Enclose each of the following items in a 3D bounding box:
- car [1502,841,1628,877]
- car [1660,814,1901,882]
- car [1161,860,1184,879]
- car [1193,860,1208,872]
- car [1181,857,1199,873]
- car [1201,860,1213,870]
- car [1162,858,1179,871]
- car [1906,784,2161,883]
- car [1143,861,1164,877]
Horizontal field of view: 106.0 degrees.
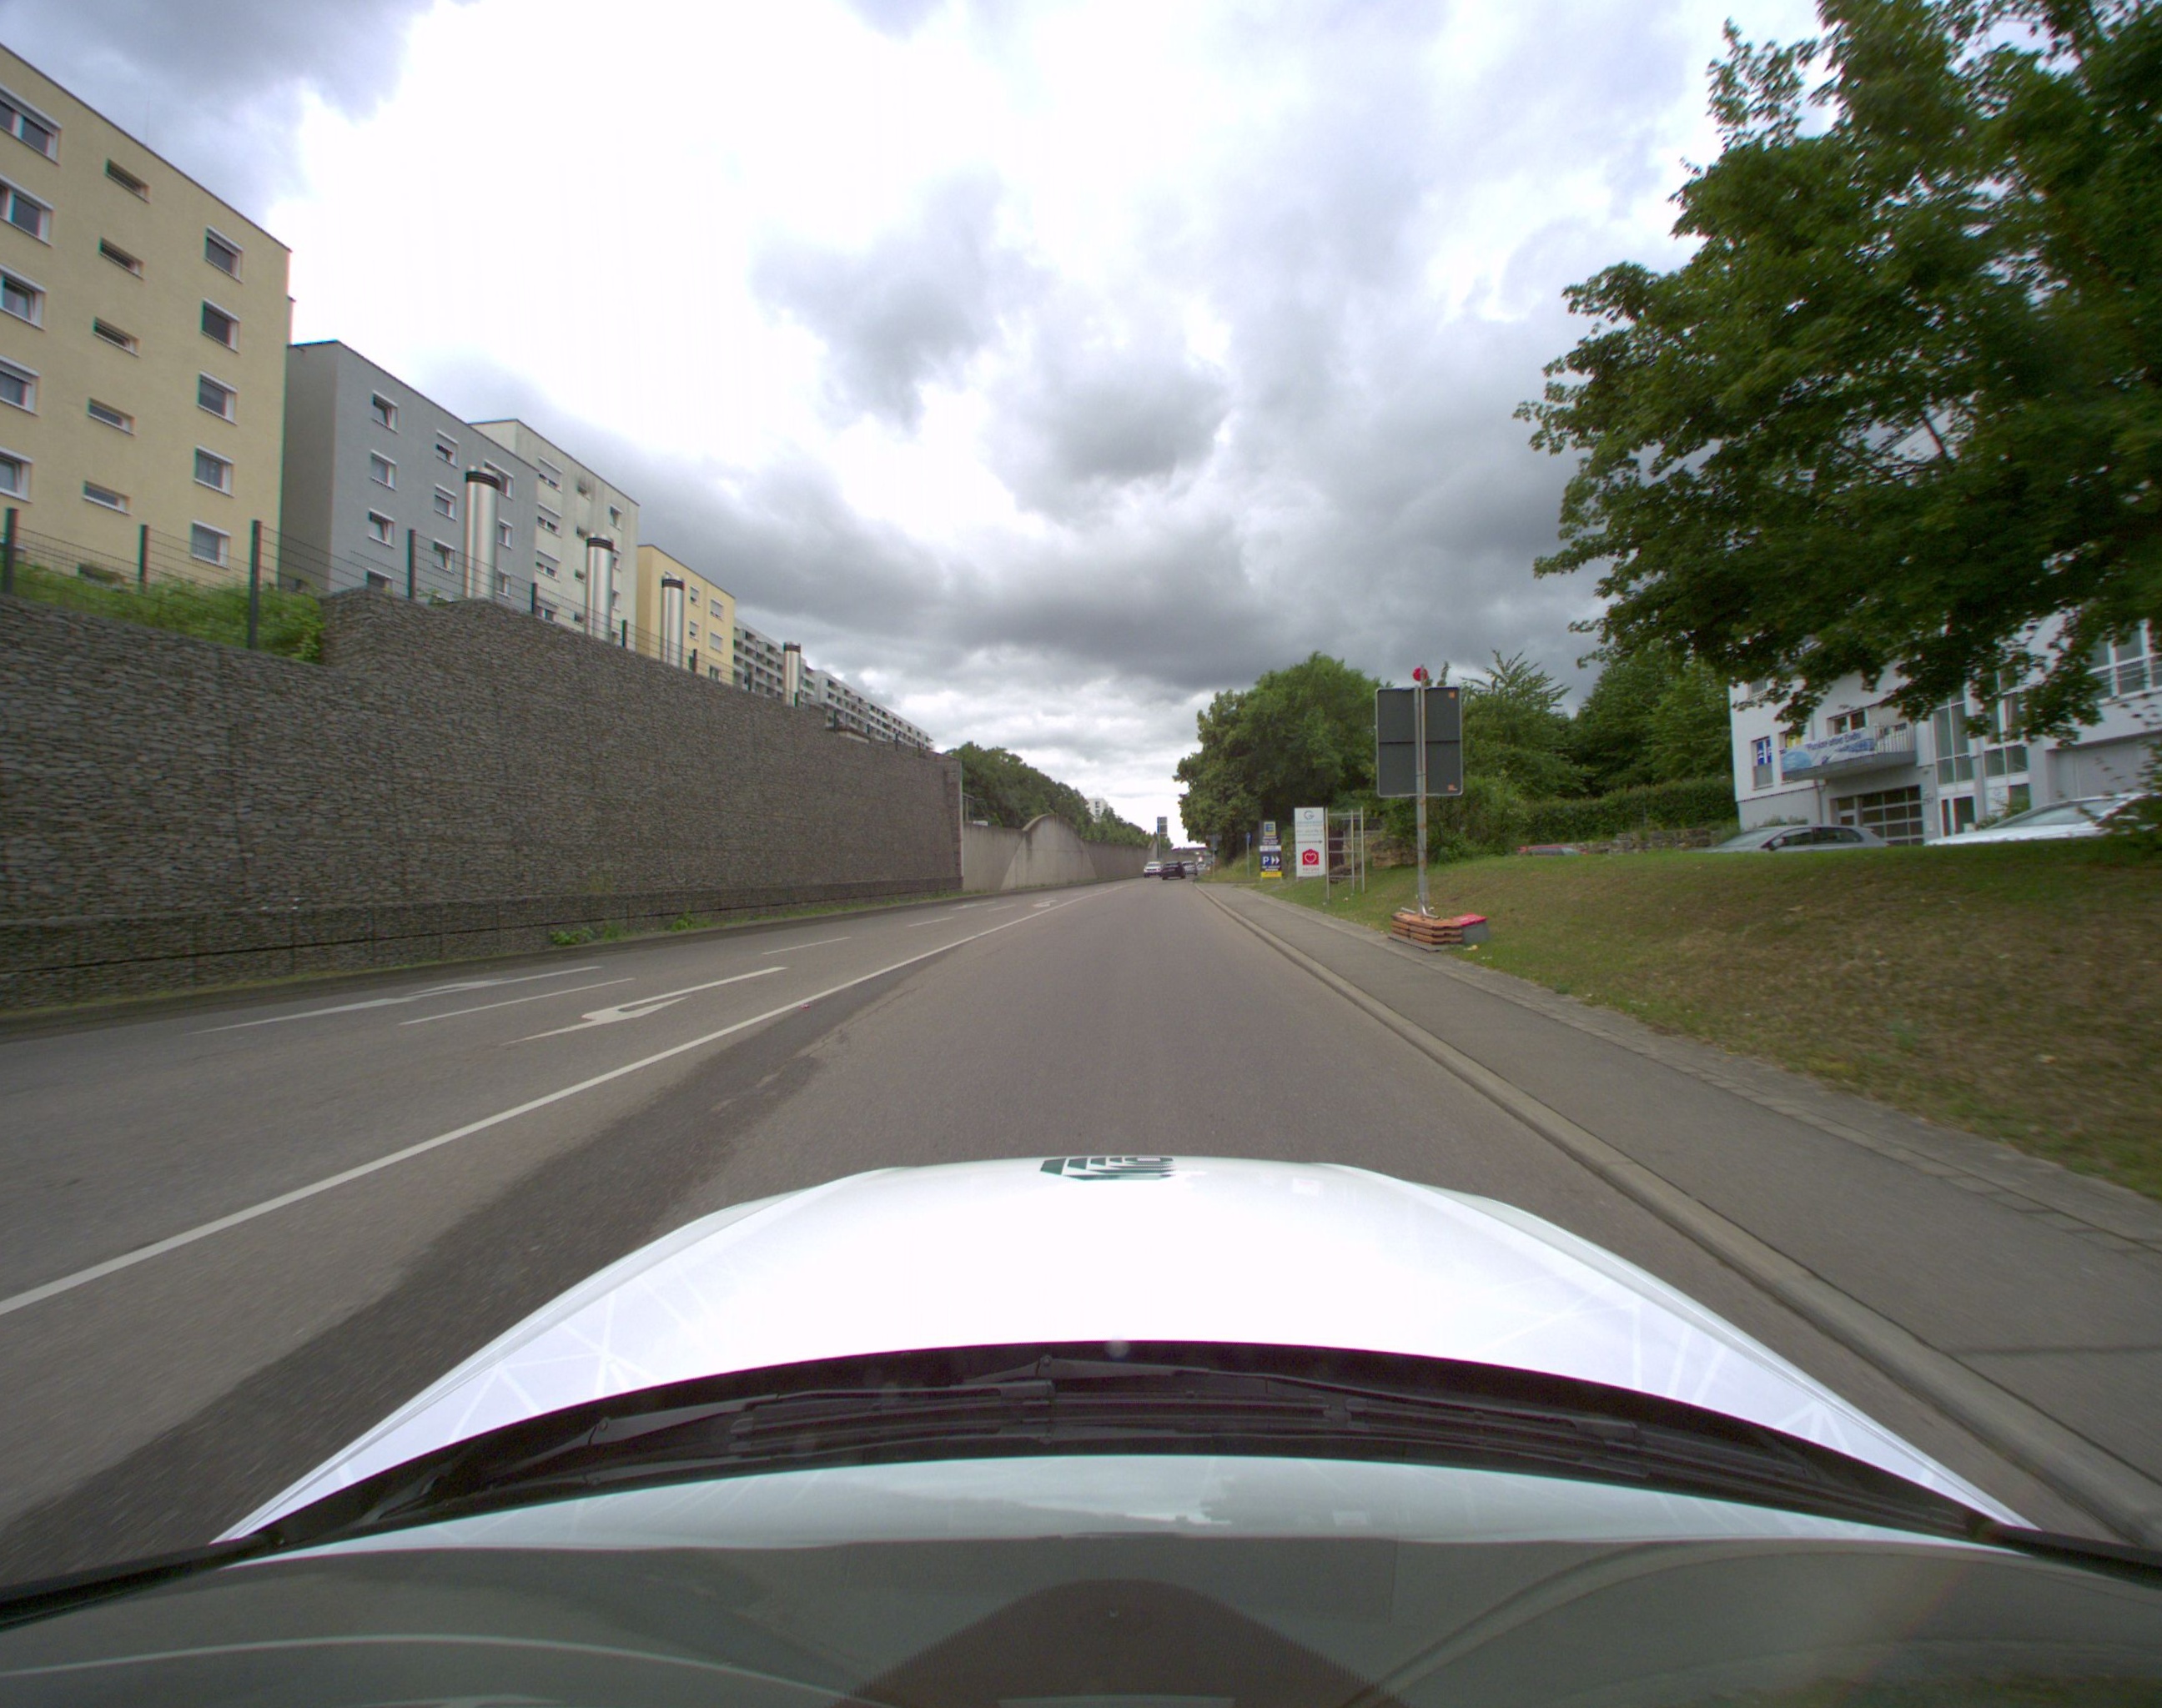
[{"bbox_3d":[20.222,0.220,34.191,4.211,1.450,1.766,-1,-1,13],"label":"car"},{"bbox_3d":[16.100,-0.093,18.942,3.852,1.353,1.838,-2,-3,7],"label":"car"},{"bbox_3d":[7.686,1.348,68.365,1.744,1.523,4.046,1,-2,9],"label":"car"},{"bbox_3d":[16.141,1.631,109.861,1.855,1.490,4.268,0,-1,10],"label":"car"},{"bbox_3d":[11.275,1.166,84.188,1.744,1.523,4.045,1,-2,8],"label":"car"},{"bbox_3d":[20.387,1.793,131.888,1.743,1.534,4.265,1,-2,10],"label":"car"},{"bbox_3d":[11.795,1.359,106.917,1.878,1.632,4.439,-2,-1,10],"label":"car"},{"bbox_3d":[14.635,-0.277,11.483,3.850,1.233,1.874,-2,-3,8],"label":"car"},{"bbox_3d":[7.554,1.543,85.006,1.851,1.632,4.218,-2,-1,9],"label":"car"}]
